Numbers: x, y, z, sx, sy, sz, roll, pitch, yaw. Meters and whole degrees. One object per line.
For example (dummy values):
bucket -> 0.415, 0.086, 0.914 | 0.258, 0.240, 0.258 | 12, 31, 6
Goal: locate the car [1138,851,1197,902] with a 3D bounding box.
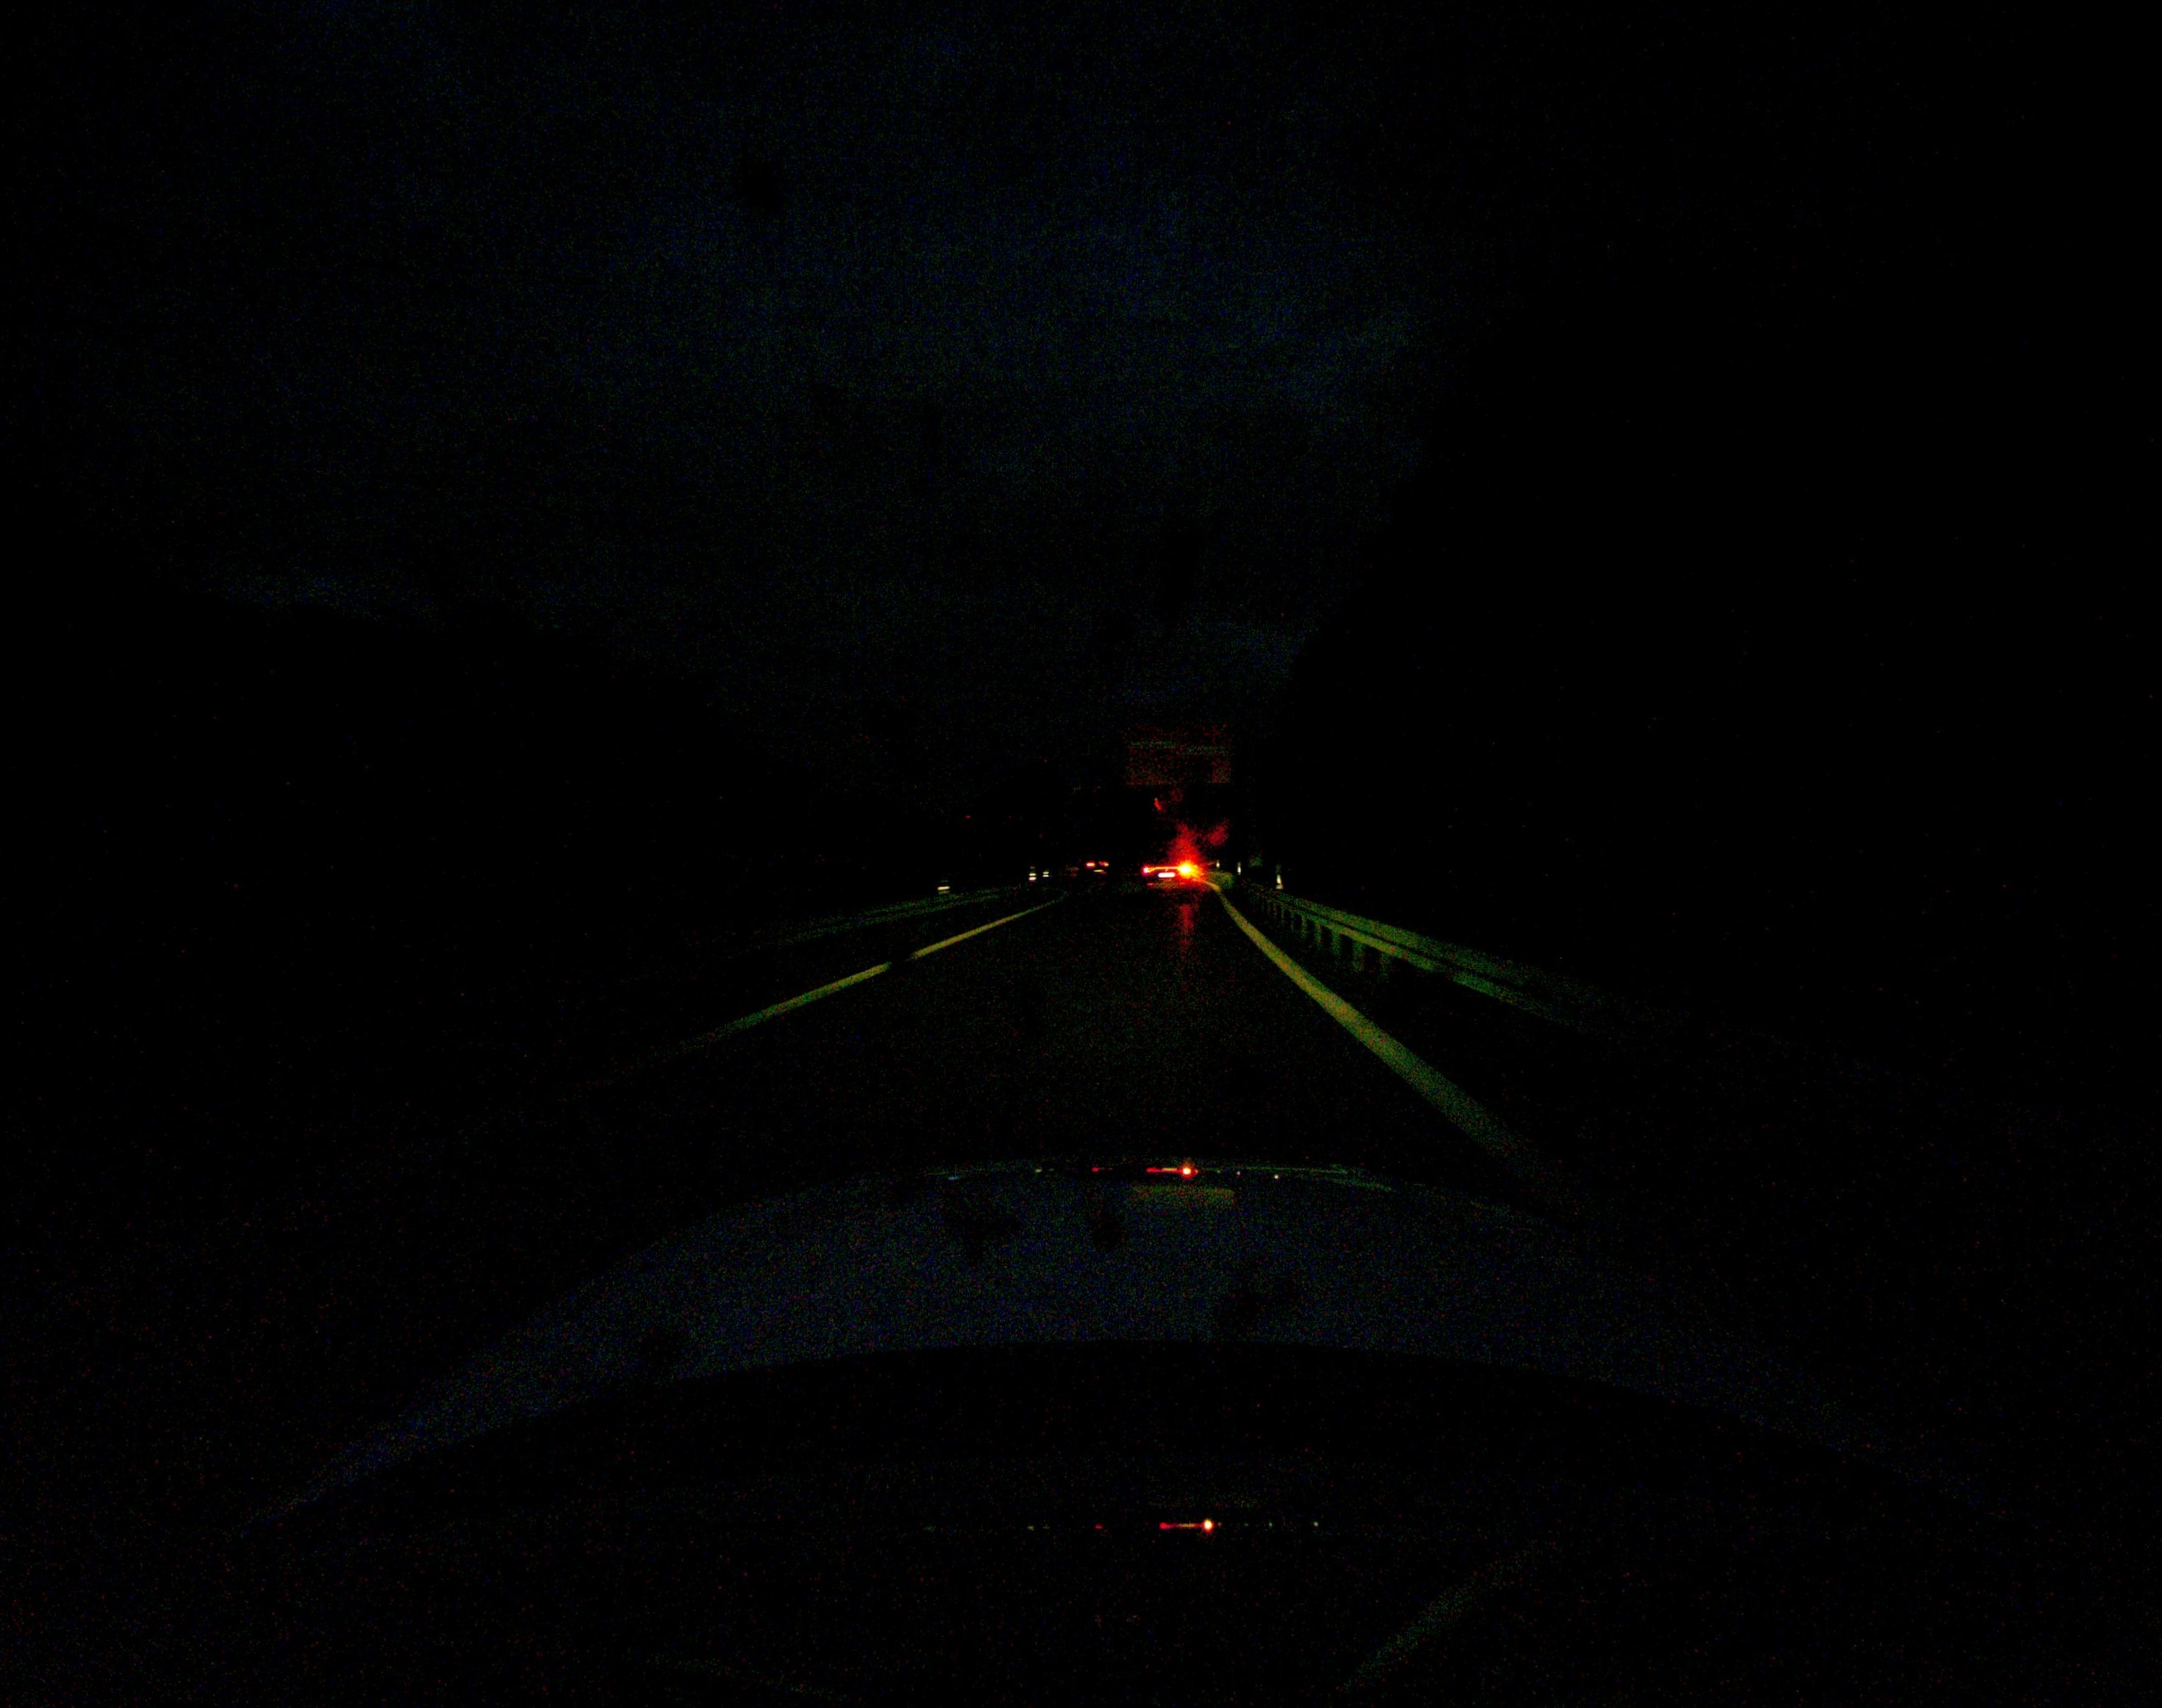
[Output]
car -> 3.271, 0.774, 30.260 | 1.982, 1.659, 4.324 | -2, 0, 8

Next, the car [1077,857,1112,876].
car -> 1.162, 1.100, 74.093 | 1.999, 1.598, 3.976 | 1, 0, -18
